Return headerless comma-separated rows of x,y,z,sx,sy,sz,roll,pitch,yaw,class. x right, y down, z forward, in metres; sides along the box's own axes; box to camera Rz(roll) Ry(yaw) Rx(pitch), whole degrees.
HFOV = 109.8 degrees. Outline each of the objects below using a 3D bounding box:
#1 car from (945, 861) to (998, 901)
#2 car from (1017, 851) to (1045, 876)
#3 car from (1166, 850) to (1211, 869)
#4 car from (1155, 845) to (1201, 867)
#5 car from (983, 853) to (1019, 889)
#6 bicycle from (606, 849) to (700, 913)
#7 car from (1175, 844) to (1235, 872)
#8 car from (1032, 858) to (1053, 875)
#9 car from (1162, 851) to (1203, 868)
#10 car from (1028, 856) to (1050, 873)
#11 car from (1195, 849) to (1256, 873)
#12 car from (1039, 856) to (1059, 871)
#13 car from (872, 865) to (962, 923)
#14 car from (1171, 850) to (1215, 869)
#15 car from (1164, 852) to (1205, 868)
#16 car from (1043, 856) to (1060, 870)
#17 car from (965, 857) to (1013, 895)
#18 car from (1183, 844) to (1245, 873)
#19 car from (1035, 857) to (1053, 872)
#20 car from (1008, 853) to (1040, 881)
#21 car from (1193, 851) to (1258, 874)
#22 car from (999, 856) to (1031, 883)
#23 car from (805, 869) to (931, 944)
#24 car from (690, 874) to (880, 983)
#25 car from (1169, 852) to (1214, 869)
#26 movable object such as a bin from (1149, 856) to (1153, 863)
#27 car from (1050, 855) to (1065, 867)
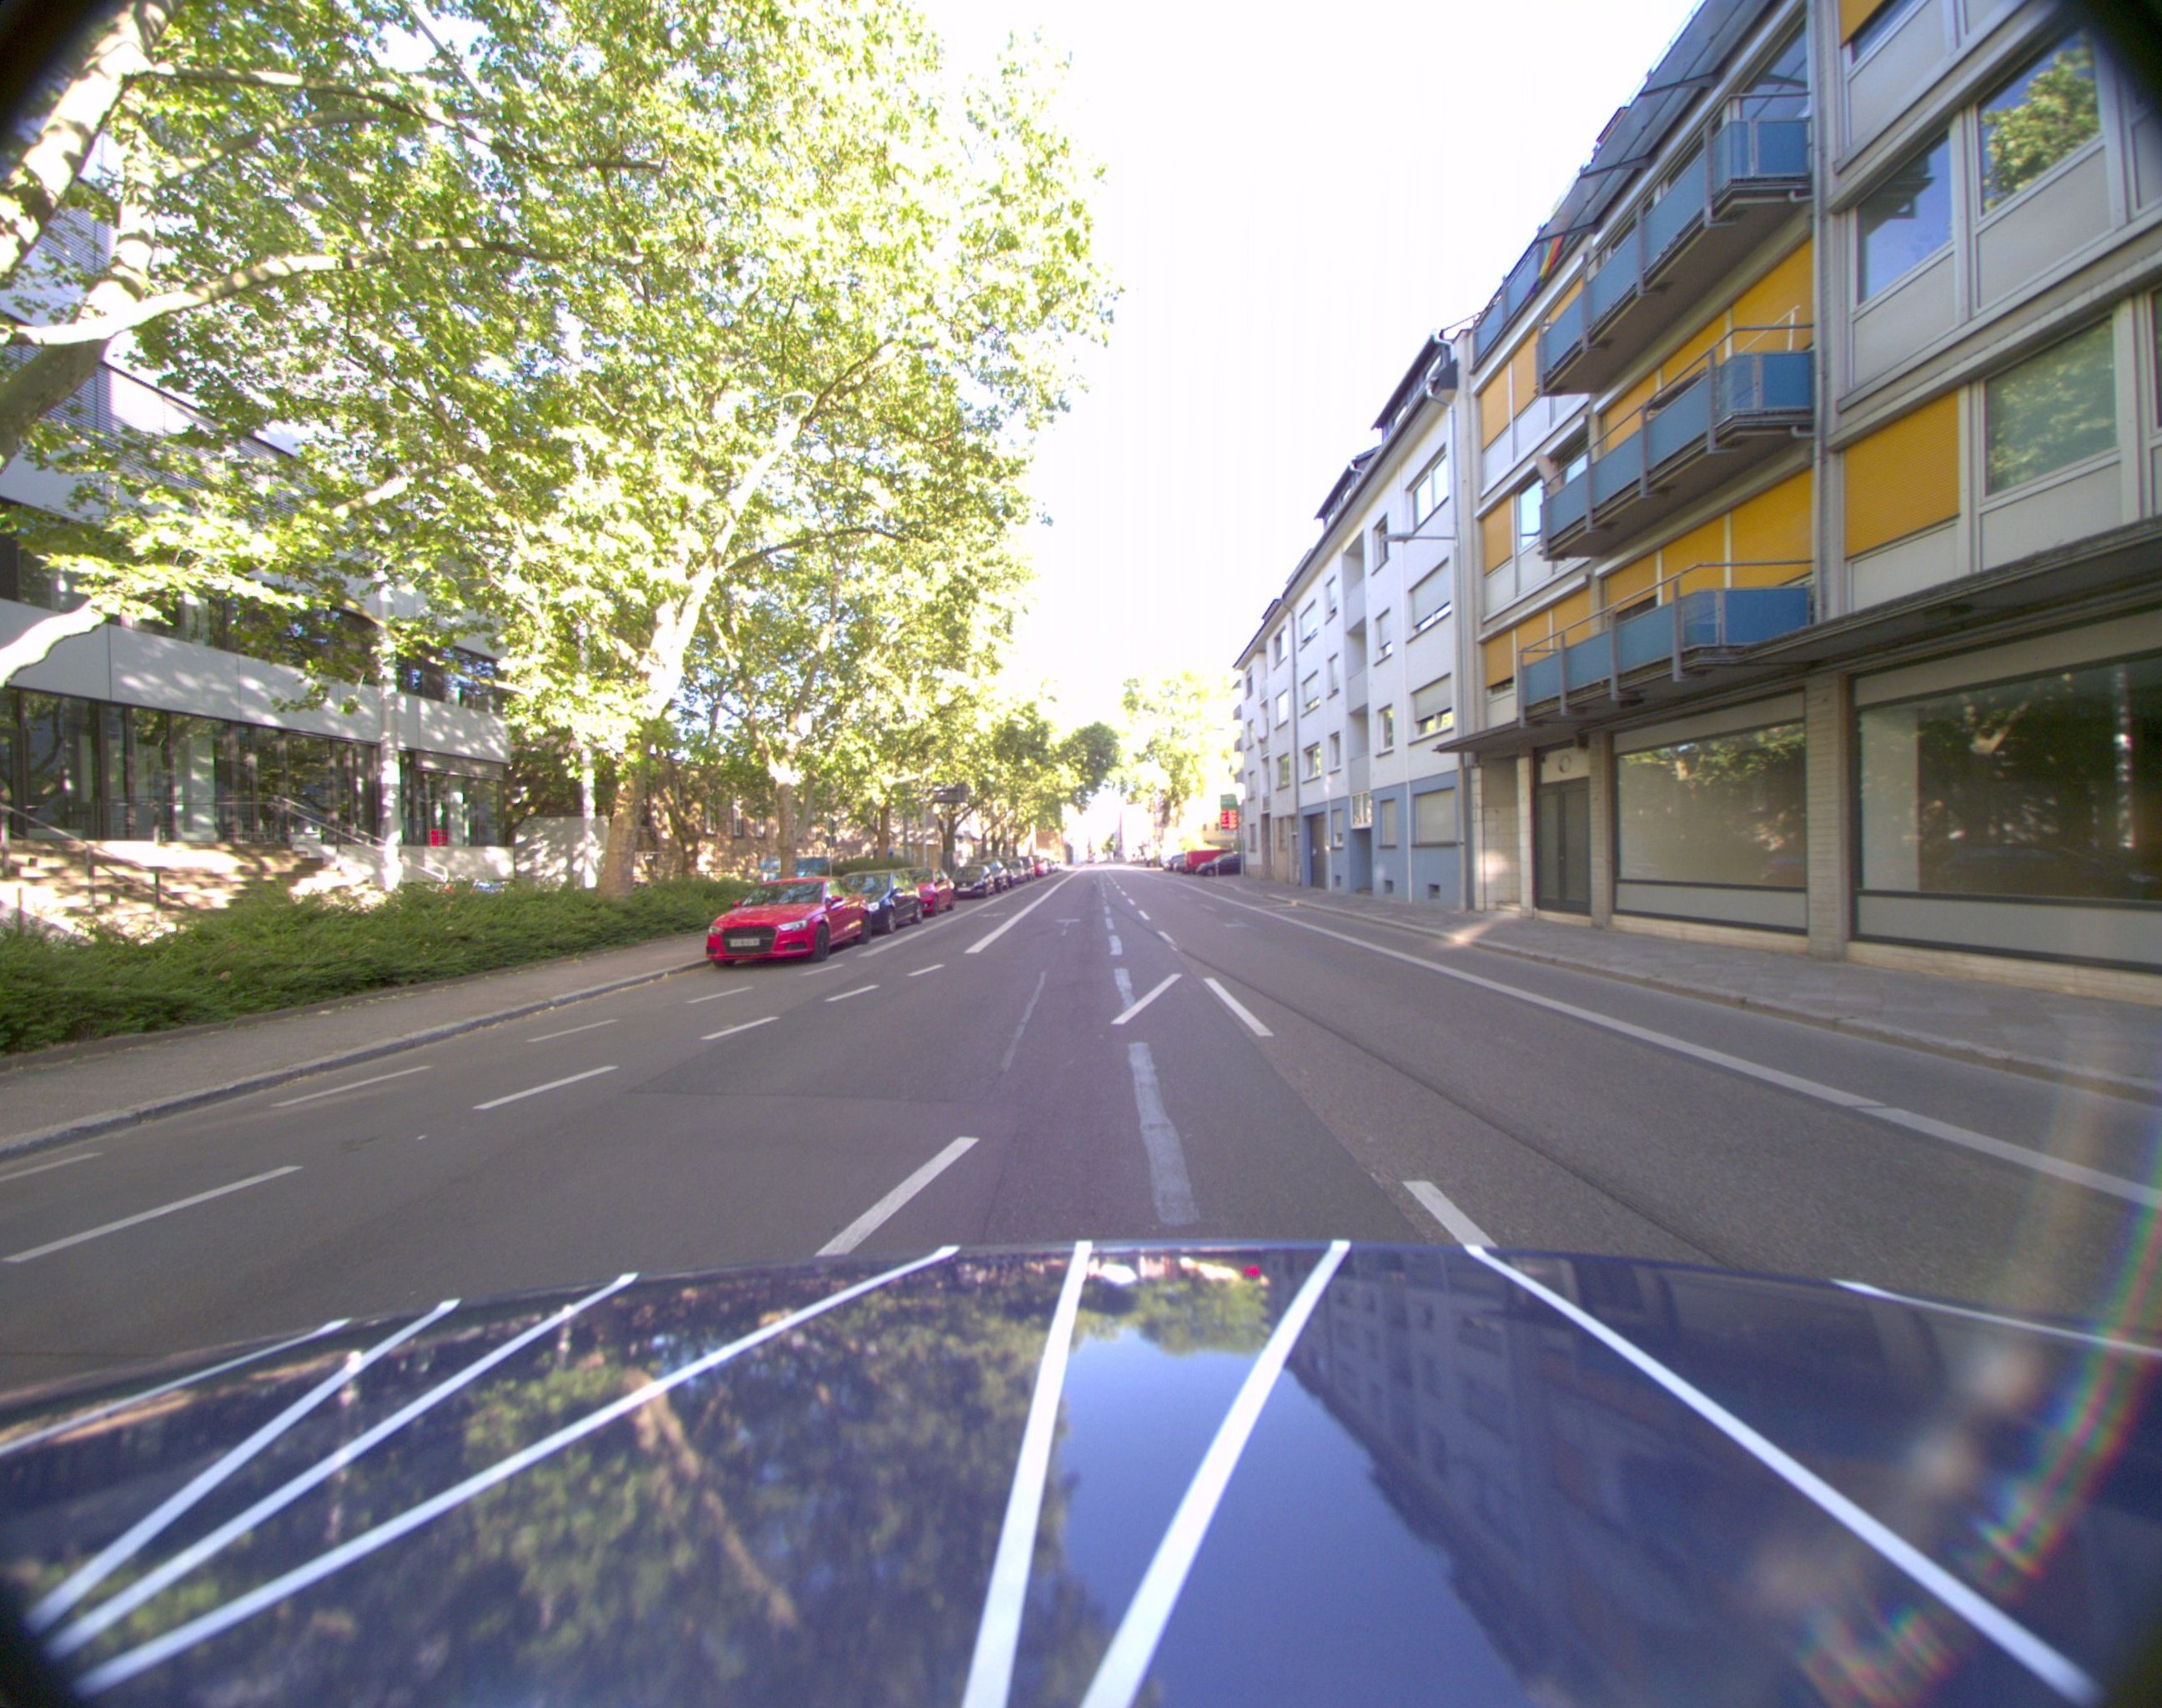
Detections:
-4.716,1.117,33.180,1.697,1.495,4.019,-4,0,-1,car
-4.340,0.767,66.757,2.083,1.982,5.171,-3,0,-1,car
10.733,0.527,76.037,4.204,1.674,2.028,-3,0,1,car
10.889,0.249,85.362,4.856,2.204,2.140,-3,0,1,car
-4.669,0.945,44.090,1.830,1.830,4.896,-4,0,-7,car
-13.946,0.855,24.777,2.604,2.002,0.742,-1,1,1,bicycle
10.242,0.340,62.877,4.533,1.940,2.057,-4,0,1,car
-3.853,1.249,76.111,1.860,1.502,3.928,-4,0,-1,car
10.777,0.561,80.803,3.997,1.550,1.853,-3,0,1,car
-3.908,0.979,71.544,1.641,1.476,3.760,-4,0,3,car
10.809,0.509,57.193,4.183,1.554,1.886,-4,0,1,car
-3.622,1.083,86.632,1.860,1.513,4.599,-3,0,0,car
-5.021,1.178,23.874,1.697,1.470,4.318,-4,0,1,car
10.394,0.471,70.636,3.694,1.504,1.831,-4,0,1,car
10.646,0.624,78.560,3.997,1.424,1.853,-3,0,1,car
-3.590,1.076,92.656,1.860,1.514,4.297,-3,0,0,car
-4.576,1.051,38.254,1.780,1.618,4.620,-4,0,0,car
10.456,0.329,60.144,4.432,1.940,2.146,-4,0,1,car
-3.921,1.089,80.629,1.617,1.466,3.493,-4,0,0,car
-4.118,0.910,55.418,1.697,1.802,4.130,-4,0,3,car
10.408,0.609,54.897,4.239,1.372,2.046,-3,1,1,car
-4.387,1.005,50.883,1.697,1.618,4.329,-4,0,-1,car
-5.033,1.183,18.535,1.697,1.458,4.066,-4,0,2,car
-5.099,1.189,13.824,1.697,1.441,4.435,-4,0,-1,car
10.542,0.607,72.903,3.997,1.447,1.916,-3,0,1,car
10.646,0.820,115.379,0.595,1.065,0.644,-1,1,1,movable object such as a bin
-3.227,0.941,103.370,1.860,1.428,4.969,-2,0,-2,car
